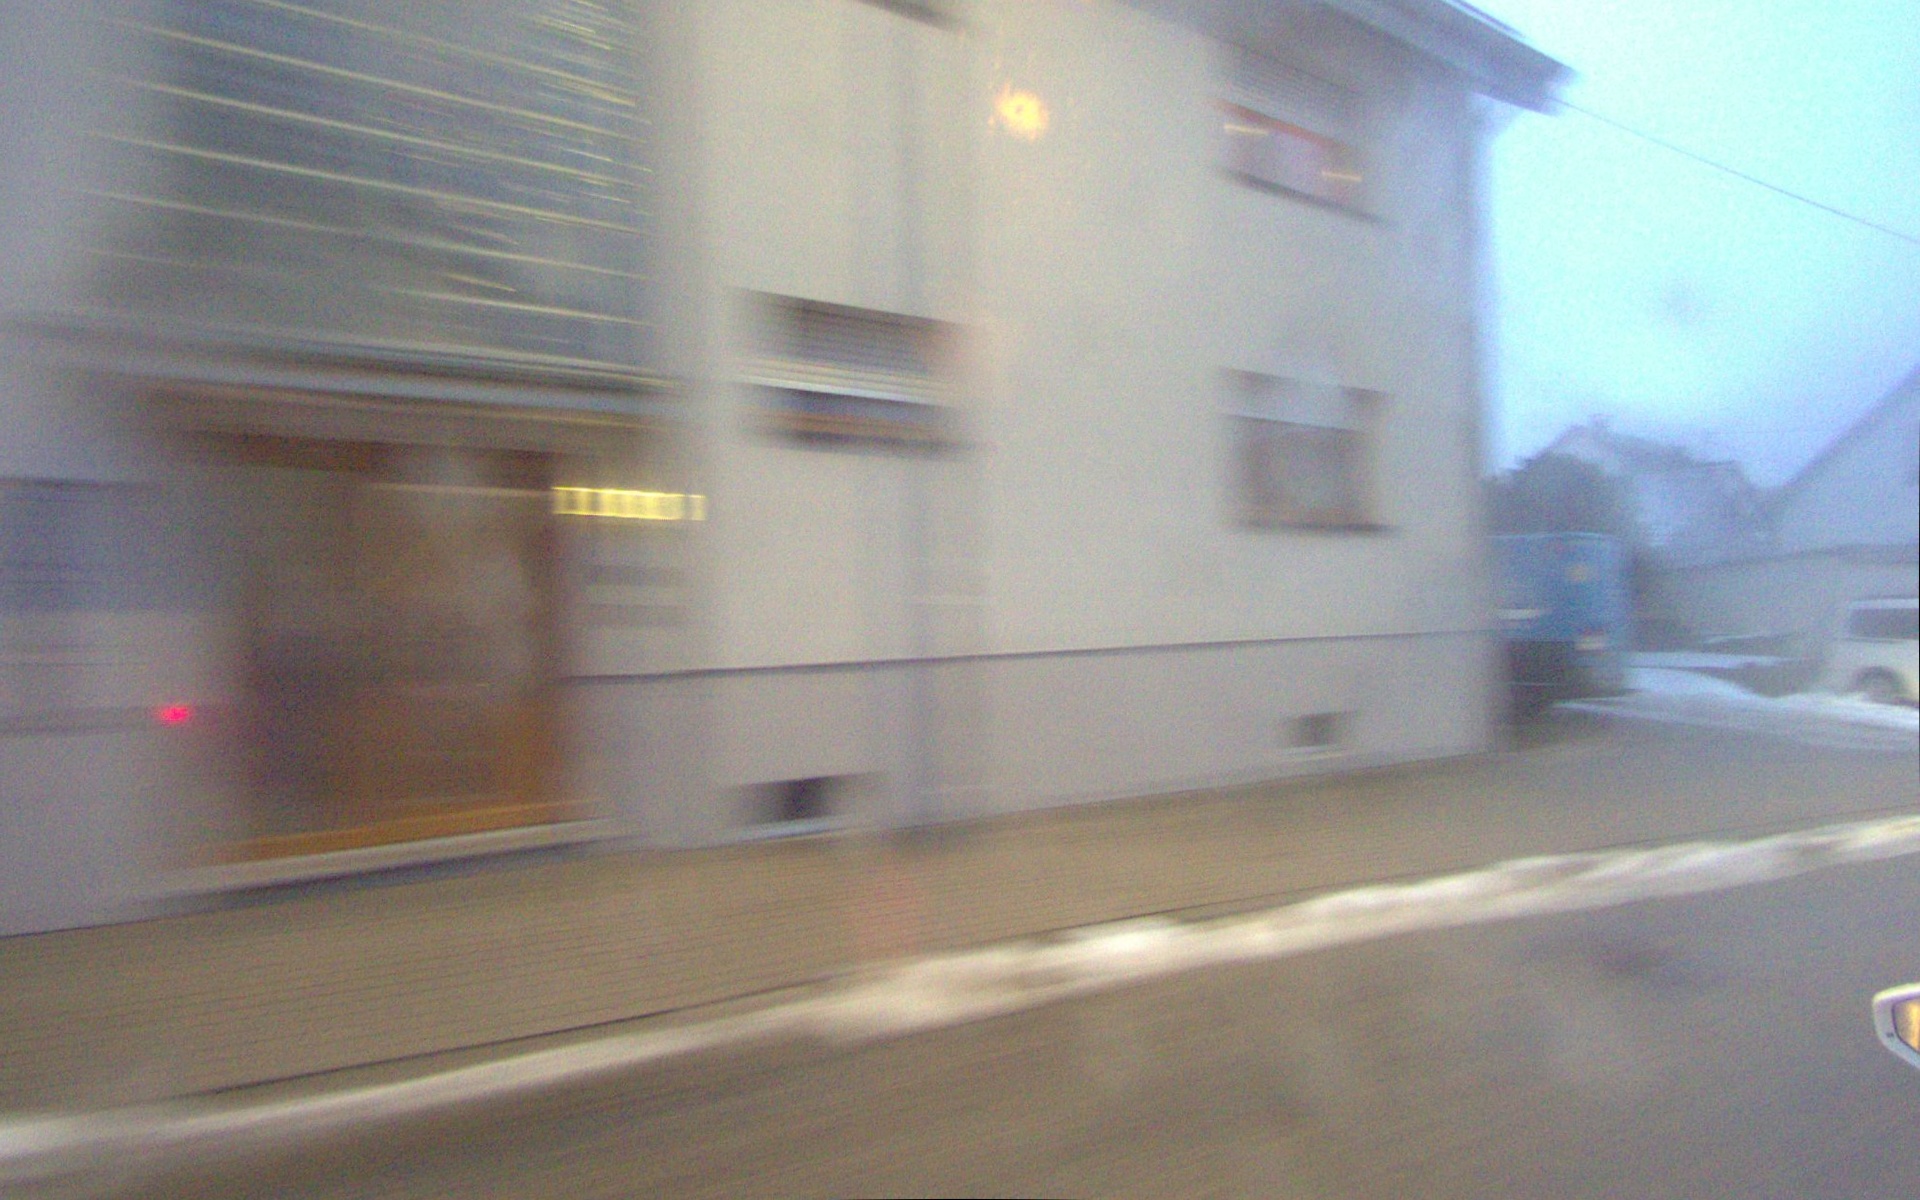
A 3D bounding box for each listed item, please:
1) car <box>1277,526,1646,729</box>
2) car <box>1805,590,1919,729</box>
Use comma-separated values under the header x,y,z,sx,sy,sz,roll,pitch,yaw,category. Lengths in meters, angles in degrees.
x,y,z,sx,sy,sz,roll,pitch,yaw,category
6.634,0.438,13.515,3.945,2.307,1.989,-6,-3,42,car
15.560,0.813,14.512,1.967,2.040,4.733,-3,-2,-16,car
